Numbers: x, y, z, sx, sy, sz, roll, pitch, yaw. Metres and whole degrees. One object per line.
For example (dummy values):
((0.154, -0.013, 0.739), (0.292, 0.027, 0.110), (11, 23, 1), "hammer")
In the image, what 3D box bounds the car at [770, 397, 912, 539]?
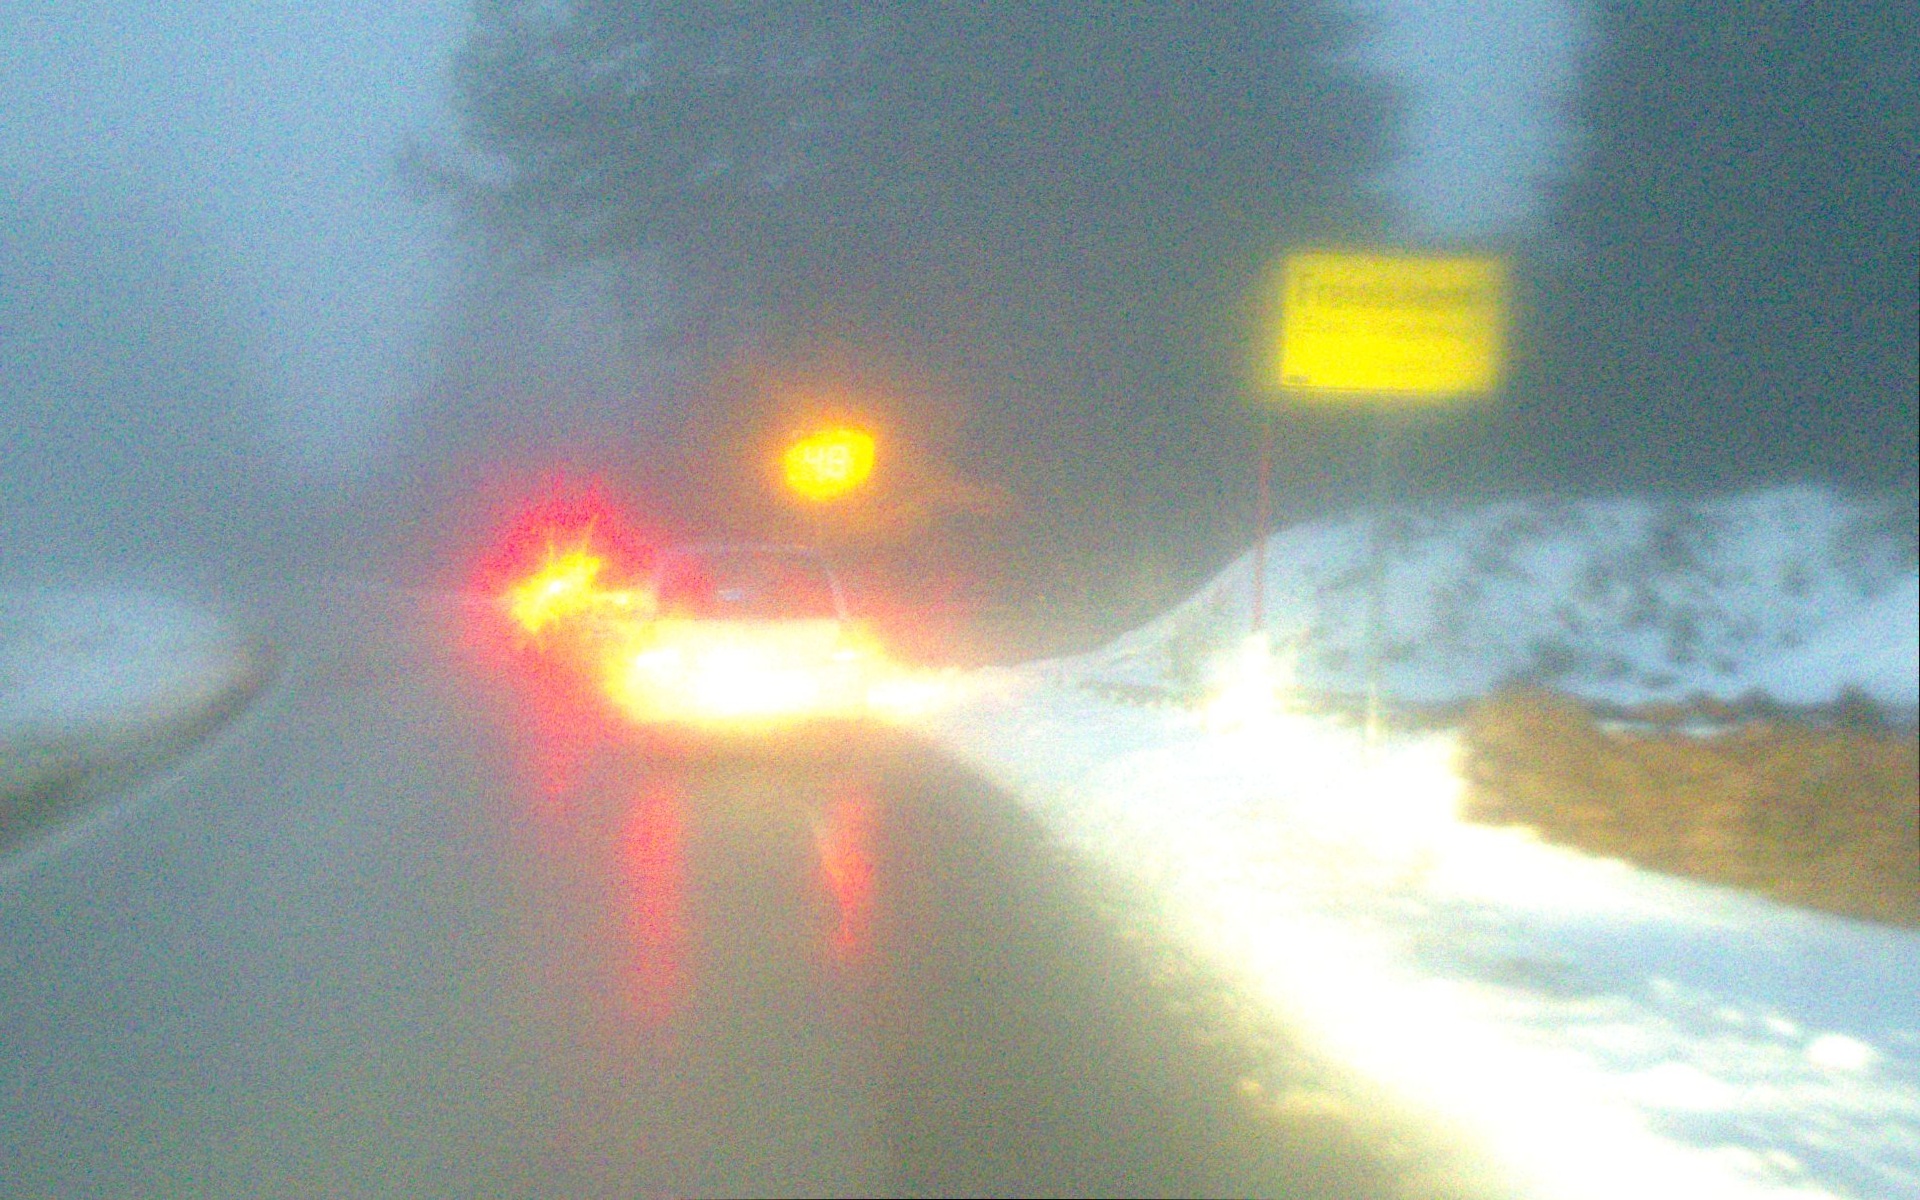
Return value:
((-1.323, -1.470, 39.146), (1.479, 1.503, 3.053), (0, 0, 1), "car")

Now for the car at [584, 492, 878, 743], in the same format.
((-1.667, 0.142, 23.870), (1.706, 1.458, 4.001), (5, -1, -7), "car")

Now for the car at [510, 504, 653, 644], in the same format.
((-4.228, -0.302, 38.705), (1.478, 1.503, 3.053), (0, 1, -4), "car")
